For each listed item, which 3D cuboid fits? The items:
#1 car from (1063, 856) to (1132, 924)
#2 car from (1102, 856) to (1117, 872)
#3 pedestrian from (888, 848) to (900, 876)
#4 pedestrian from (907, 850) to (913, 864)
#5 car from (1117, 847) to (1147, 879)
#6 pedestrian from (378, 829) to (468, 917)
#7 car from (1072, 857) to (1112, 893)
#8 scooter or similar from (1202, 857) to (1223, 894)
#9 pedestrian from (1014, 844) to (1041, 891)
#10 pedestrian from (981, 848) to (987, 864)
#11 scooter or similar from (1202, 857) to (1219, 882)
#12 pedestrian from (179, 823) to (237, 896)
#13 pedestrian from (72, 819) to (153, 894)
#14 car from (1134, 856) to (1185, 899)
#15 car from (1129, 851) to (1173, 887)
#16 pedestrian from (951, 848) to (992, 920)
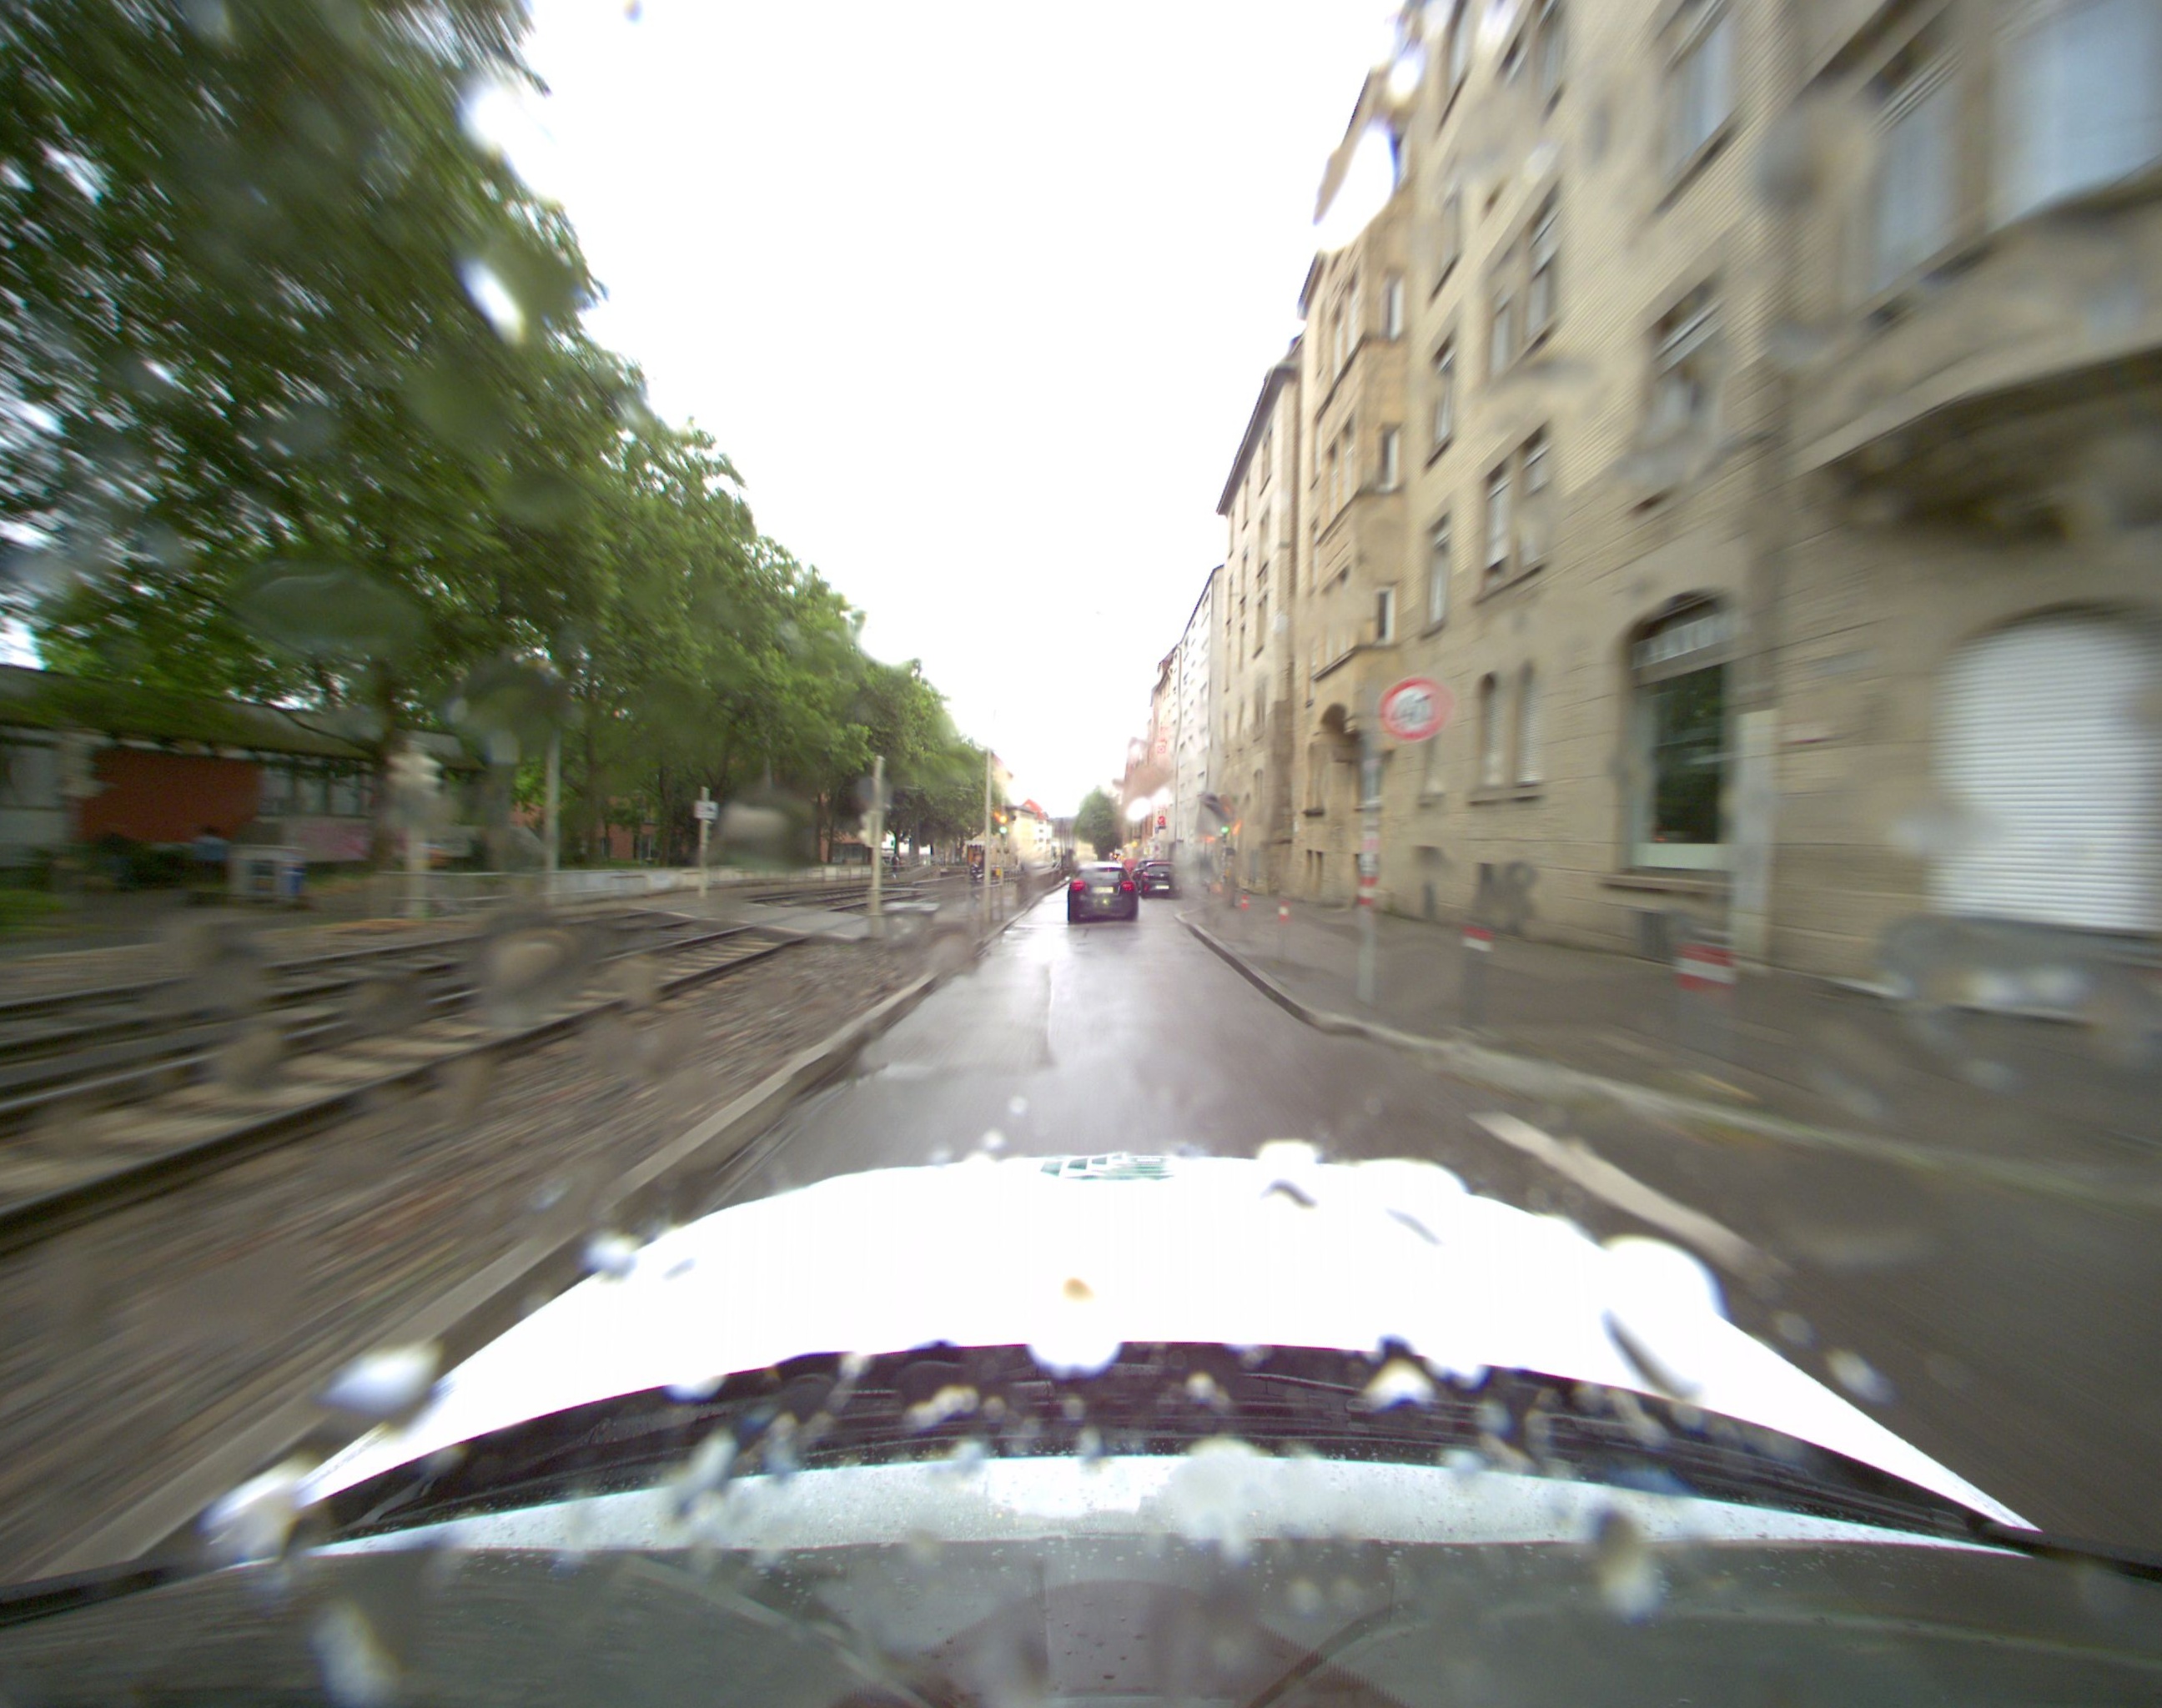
[{"bbox_3d":[0.392,0.833,20.559,1.575,1.504,3.574,0,0,0],"label":"car"},{"bbox_3d":[3.867,1.342,111.738,1.986,2.013,4.002,-1,1,1],"label":"car"},{"bbox_3d":[-11.740,0.498,51.072,0.532,1.754,0.607,2,0,1],"label":"pedestrian"},{"bbox_3d":[-19.408,0.377,92.552,0.517,1.596,0.600,0,0,1],"label":"pedestrian"},{"bbox_3d":[3.376,0.575,54.134,1.753,2.013,4.000,-1,1,1],"label":"car"},{"bbox_3d":[-13.262,0.371,16.437,1.050,1.718,0.904,1,0,2],"label":"pedestrian"},{"bbox_3d":[0.529,0.966,39.165,1.779,1.581,4.001,0,0,1],"label":"car"},{"bbox_3d":[4.955,0.790,30.822,0.447,1.321,1.776,-1,1,-2],"label":"scooter or similar"},{"bbox_3d":[-2.340,0.555,35.548,1.135,1.998,1.171,-1,1,-3],"label":"pedestrian"},{"bbox_3d":[-10.538,0.187,88.854,0.516,1.717,0.551,2,0,1],"label":"pedestrian"},{"bbox_3d":[7.119,0.849,44.868,0.448,1.321,1.773,-1,1,-6],"label":"scooter or similar"},{"bbox_3d":[-20.469,0.126,19.109,0.694,1.662,0.637,0,0,-19],"label":"pedestrian"},{"bbox_3d":[-22.521,0.053,18.951,0.614,1.683,1.015,-1,1,1],"label":"pedestrian"},{"bbox_3d":[3.253,0.946,34.454,1.821,1.618,3.865,-1,1,1],"label":"car"},{"bbox_3d":[3.276,0.674,38.653,1.753,1.579,4.000,-1,1,1],"label":"car"},{"bbox_3d":[-2.574,0.698,19.189,0.803,1.633,0.892,-1,1,1],"label":"pedestrian"}]
